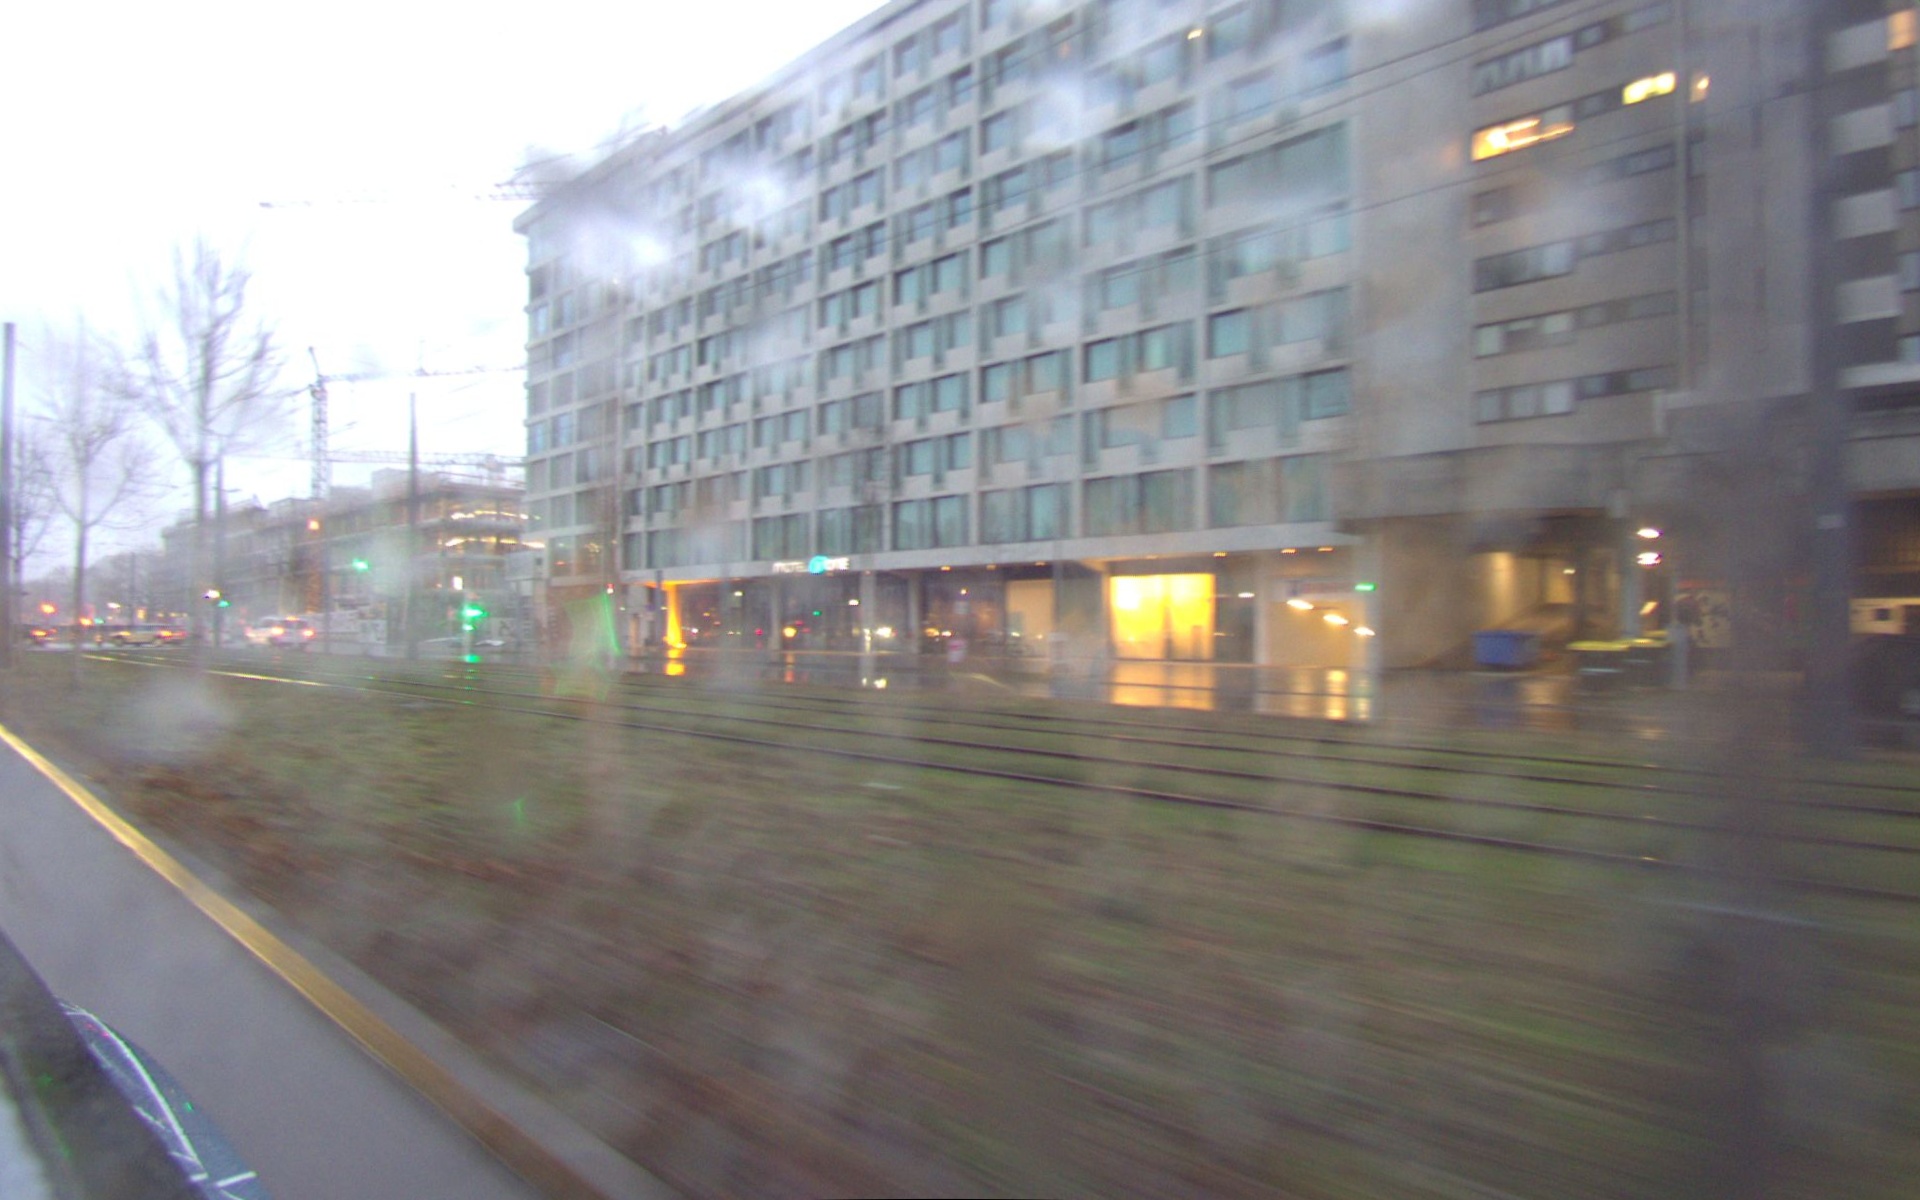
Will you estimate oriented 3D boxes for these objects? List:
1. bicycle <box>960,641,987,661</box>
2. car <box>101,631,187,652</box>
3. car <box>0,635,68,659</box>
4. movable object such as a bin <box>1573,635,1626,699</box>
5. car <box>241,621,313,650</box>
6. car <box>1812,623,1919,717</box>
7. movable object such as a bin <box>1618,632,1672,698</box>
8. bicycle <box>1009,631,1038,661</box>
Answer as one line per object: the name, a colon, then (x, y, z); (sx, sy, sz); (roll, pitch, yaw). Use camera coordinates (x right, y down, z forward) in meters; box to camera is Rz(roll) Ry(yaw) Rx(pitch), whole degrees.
bicycle: (0.628, 2.343, 46.685); (0.465, 0.860, 1.332); (-1, 0, 40)
car: (-51.094, 2.573, 63.380); (3.944, 1.317, 1.817); (0, -2, 1)
car: (-57.393, 2.841, 61.897); (4.194, 1.411, 2.114); (2, -2, -44)
movable object such as a bin: (15.315, 1.588, 24.263); (1.027, 1.437, 1.062); (-1, 0, 31)
car: (-41.165, 2.131, 60.929); (5.035, 1.682, 2.062); (-1, -2, 37)
car: (19.873, 1.405, 20.650); (1.963, 1.706, 4.129); (-1, 0, 10)
movable object such as a bin: (16.680, 1.560, 24.685); (1.008, 1.512, 1.041); (-1, 0, 31)
bicycle: (2.854, 2.041, 45.292); (0.465, 1.247, 1.520); (-1, 0, 40)
